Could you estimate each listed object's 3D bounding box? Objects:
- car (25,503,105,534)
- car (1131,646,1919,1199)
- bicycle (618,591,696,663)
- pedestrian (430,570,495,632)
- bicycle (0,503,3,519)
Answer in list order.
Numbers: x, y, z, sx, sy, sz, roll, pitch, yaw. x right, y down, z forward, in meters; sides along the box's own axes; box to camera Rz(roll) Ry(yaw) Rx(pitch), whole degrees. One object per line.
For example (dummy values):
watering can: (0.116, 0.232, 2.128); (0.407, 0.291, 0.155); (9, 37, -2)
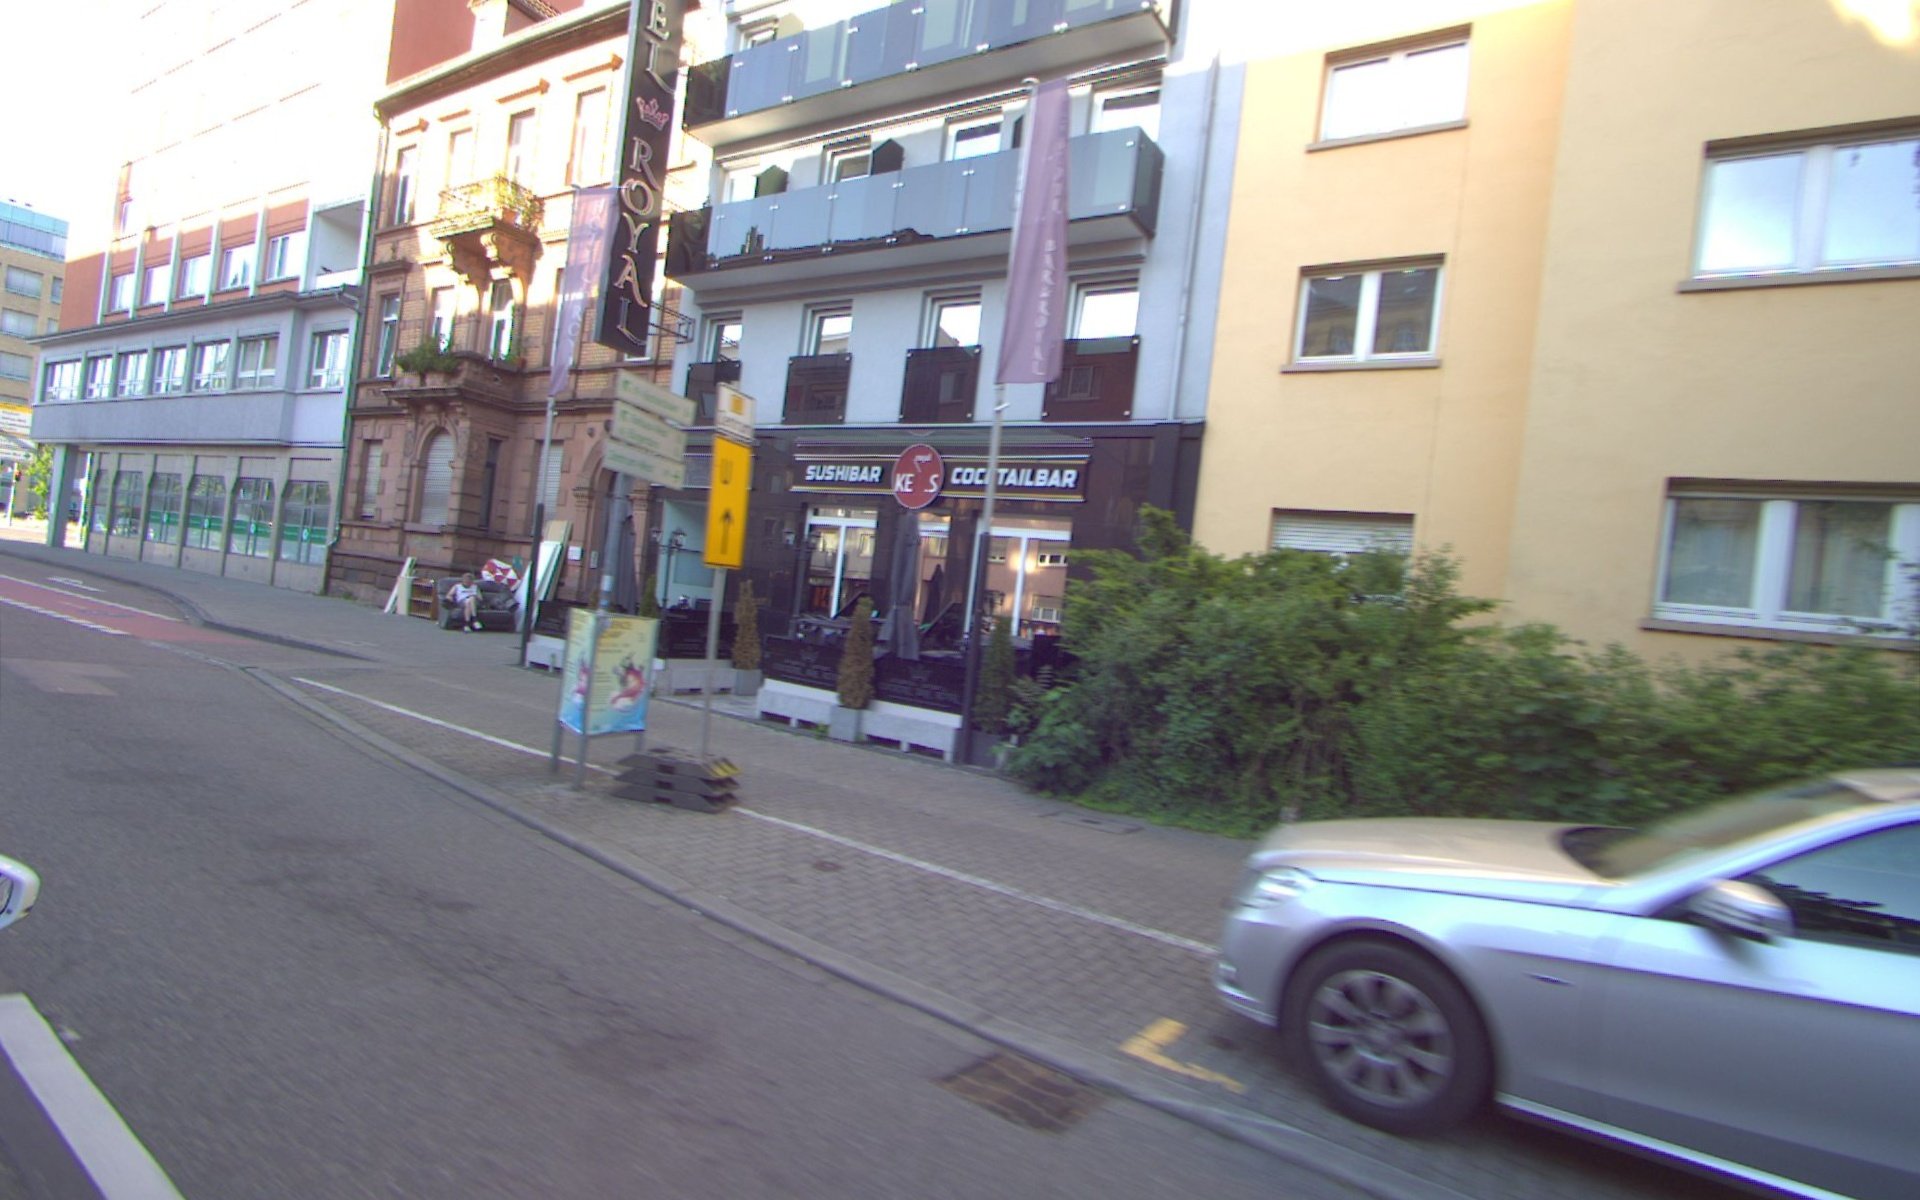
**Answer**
car: (-69.161, -6.297, 77.779); (1.969, 1.633, 4.231); (7, -1, 35)
car: (3.198, 1.215, 3.314); (4.759, 1.531, 1.856); (6, 0, 35)
bicycle: (-5.142, 0.454, 17.162); (0.479, 1.125, 1.425); (7, 2, 16)
pedestrian: (-9.627, 0.018, 19.456); (0.930, 1.056, 0.691); (7, 0, 37)
bicycle: (-75.316, -6.996, 78.006); (0.468, 1.187, 1.518); (7, -1, 40)
